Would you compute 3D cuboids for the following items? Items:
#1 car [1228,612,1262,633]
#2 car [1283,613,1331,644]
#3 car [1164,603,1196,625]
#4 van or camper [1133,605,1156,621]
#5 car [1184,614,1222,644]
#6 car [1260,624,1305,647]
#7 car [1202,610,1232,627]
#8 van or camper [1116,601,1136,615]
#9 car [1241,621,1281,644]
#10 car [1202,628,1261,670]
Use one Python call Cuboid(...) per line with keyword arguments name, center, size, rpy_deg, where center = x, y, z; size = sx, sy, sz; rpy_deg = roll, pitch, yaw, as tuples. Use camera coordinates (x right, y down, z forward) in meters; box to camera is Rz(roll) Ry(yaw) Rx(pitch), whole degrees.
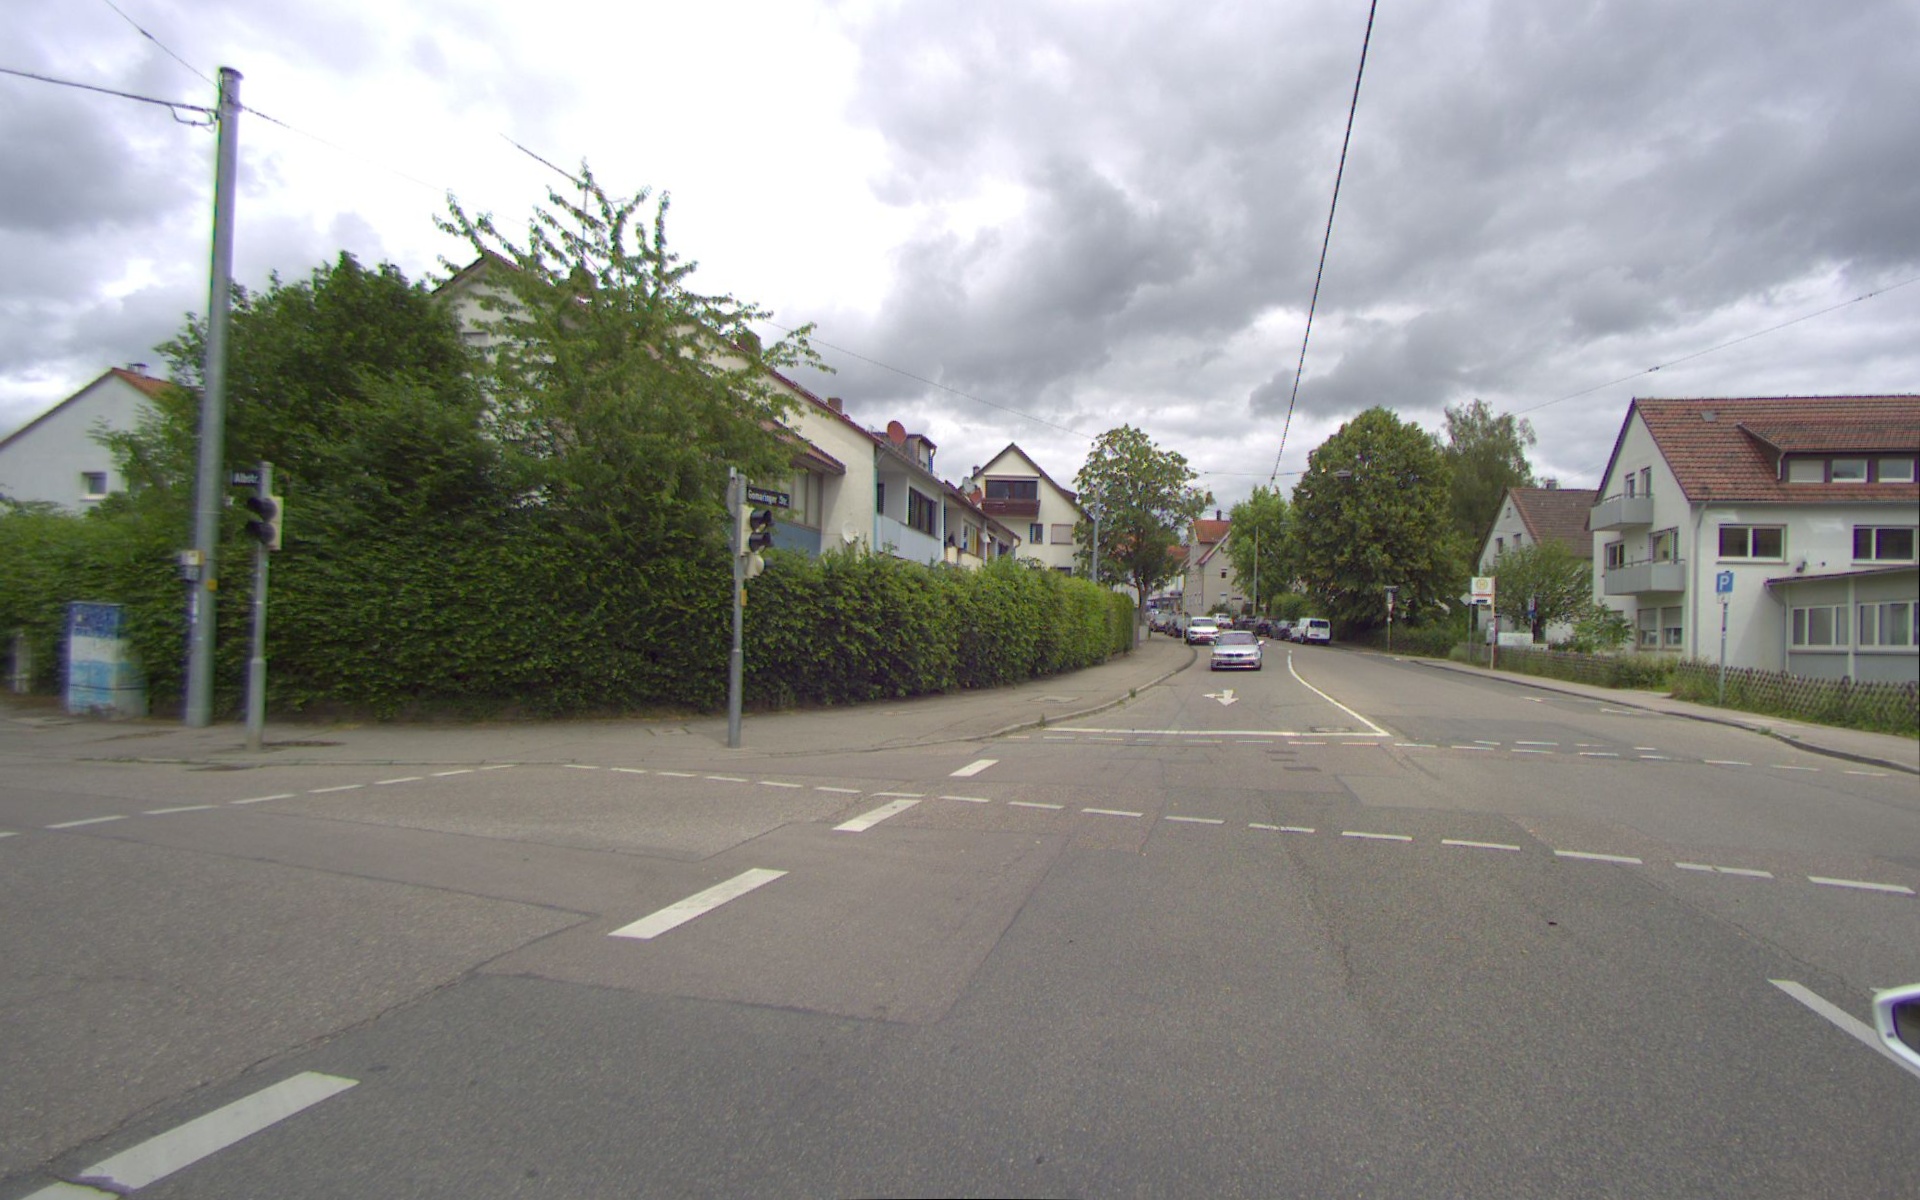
Cuboid(name="car", center=(24.874, 1.932, 87.766), size=(1.781, 1.636, 4.540), rpy_deg=(4, 0, 2))
Cuboid(name="car", center=(23.946, 1.942, 69.458), size=(1.807, 1.797, 4.317), rpy_deg=(4, 1, 1))
Cuboid(name="car", center=(22.562, 1.416, 103.252), size=(2.118, 2.040, 3.998), rpy_deg=(3, 0, -3))
Cuboid(name="van or camper", center=(25.016, 1.794, 136.273), size=(1.895, 1.951, 4.828), rpy_deg=(3, 0, -3))
Cuboid(name="car", center=(15.053, 1.773, 62.360), size=(1.818, 1.737, 4.578), rpy_deg=(0, -1, 8))
Cuboid(name="car", center=(24.102, 2.647, 75.204), size=(1.960, 1.498, 4.621), rpy_deg=(2, 0, 2))
Cuboid(name="car", center=(25.277, 1.825, 98.889), size=(1.908, 1.458, 4.001), rpy_deg=(3, 0, 2))
Cuboid(name="van or camper", center=(24.452, 1.191, 147.945), size=(1.841, 1.853, 4.678), rpy_deg=(4, 0, -3))
Cuboid(name="car", center=(24.463, 2.588, 81.765), size=(1.960, 1.636, 4.540), rpy_deg=(4, 0, 2))
Cuboid(name="car", center=(9.784, 1.733, 36.417), size=(1.683, 1.372, 4.086), rpy_deg=(2, -1, 10))
